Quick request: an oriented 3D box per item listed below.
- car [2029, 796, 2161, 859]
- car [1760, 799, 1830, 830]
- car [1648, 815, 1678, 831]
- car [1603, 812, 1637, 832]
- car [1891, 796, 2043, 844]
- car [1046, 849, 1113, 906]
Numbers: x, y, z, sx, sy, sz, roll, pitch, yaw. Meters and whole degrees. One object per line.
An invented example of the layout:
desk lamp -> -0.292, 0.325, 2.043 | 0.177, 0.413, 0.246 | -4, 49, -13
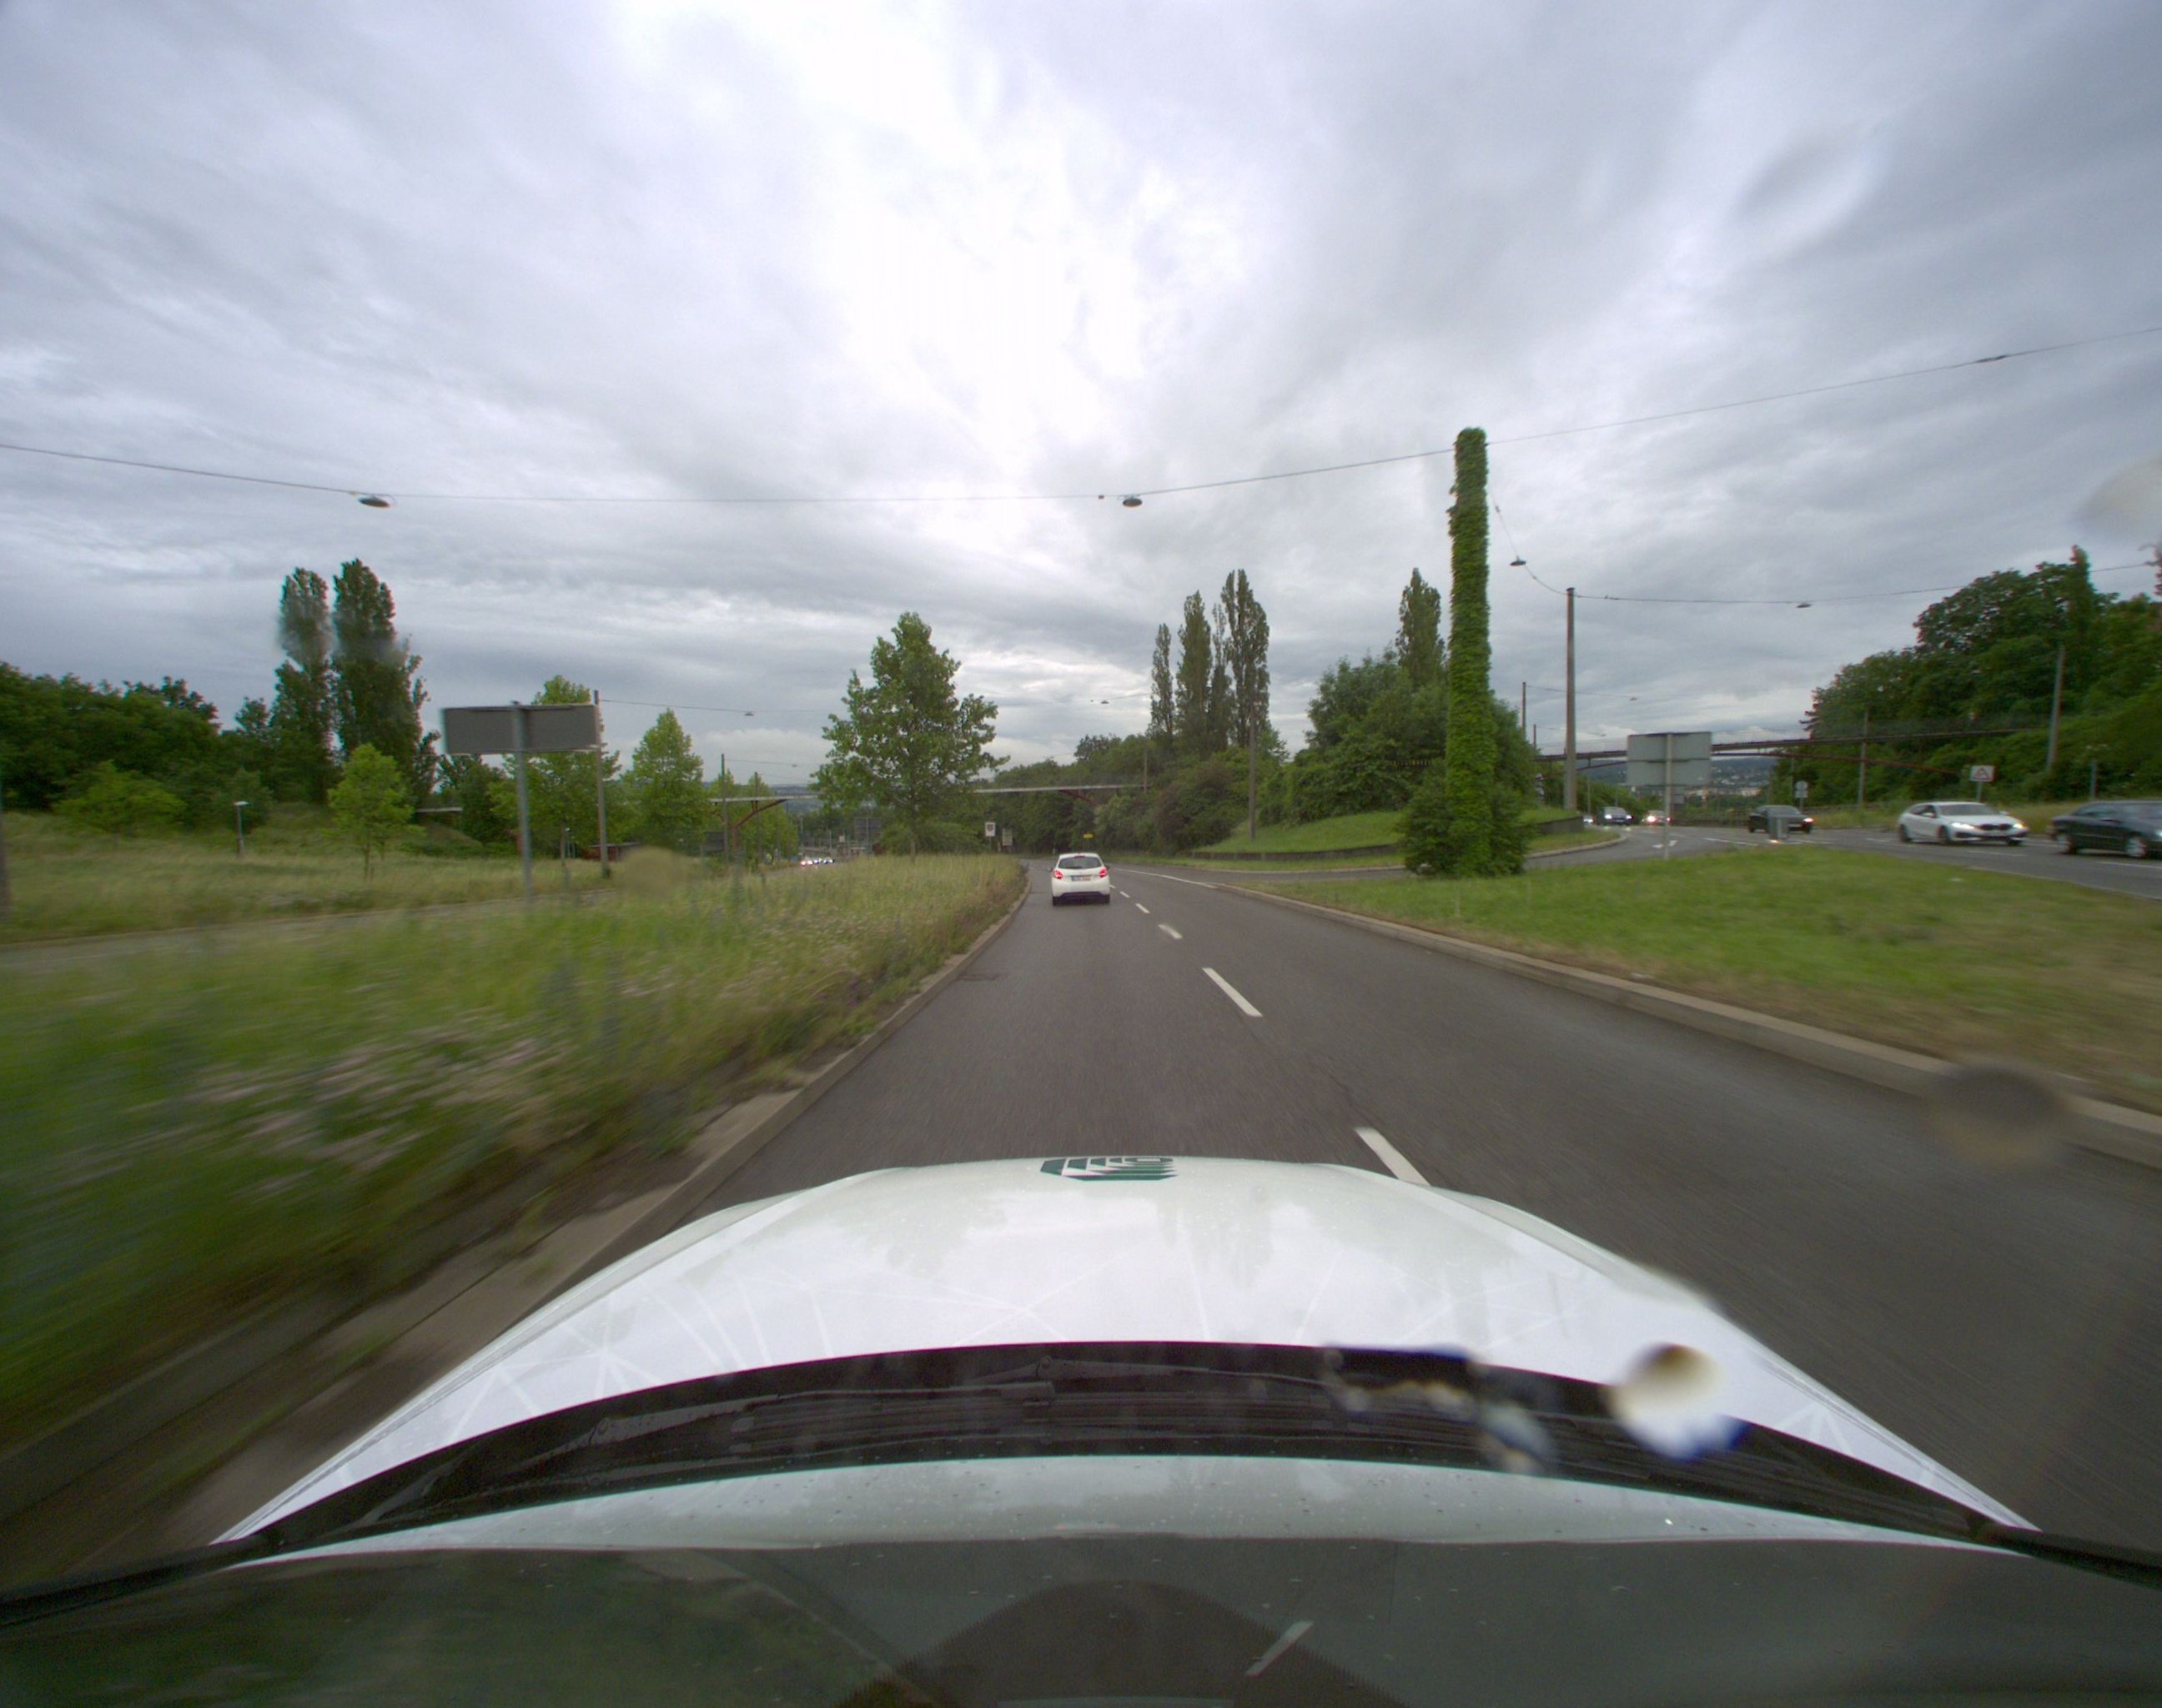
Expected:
car -> 25.845, -0.701, 19.976 | 1.820, 1.350, 4.583 | -1, 3, 28
car -> 36.050, -1.938, 41.235 | 1.655, 1.414, 3.941 | -1, 1, 26
car -> 56.063, -2.963, 78.506 | 1.655, 1.414, 3.941 | -1, 1, 26
car -> 41.426, -2.449, 62.689 | 1.655, 1.414, 3.941 | -1, 1, 26
car -> 29.663, -1.161, 27.472 | 2.049, 1.428, 4.298 | -1, 2, 26
car -> -0.028, 0.649, 24.727 | 1.862, 1.510, 3.900 | -1, 1, 0
